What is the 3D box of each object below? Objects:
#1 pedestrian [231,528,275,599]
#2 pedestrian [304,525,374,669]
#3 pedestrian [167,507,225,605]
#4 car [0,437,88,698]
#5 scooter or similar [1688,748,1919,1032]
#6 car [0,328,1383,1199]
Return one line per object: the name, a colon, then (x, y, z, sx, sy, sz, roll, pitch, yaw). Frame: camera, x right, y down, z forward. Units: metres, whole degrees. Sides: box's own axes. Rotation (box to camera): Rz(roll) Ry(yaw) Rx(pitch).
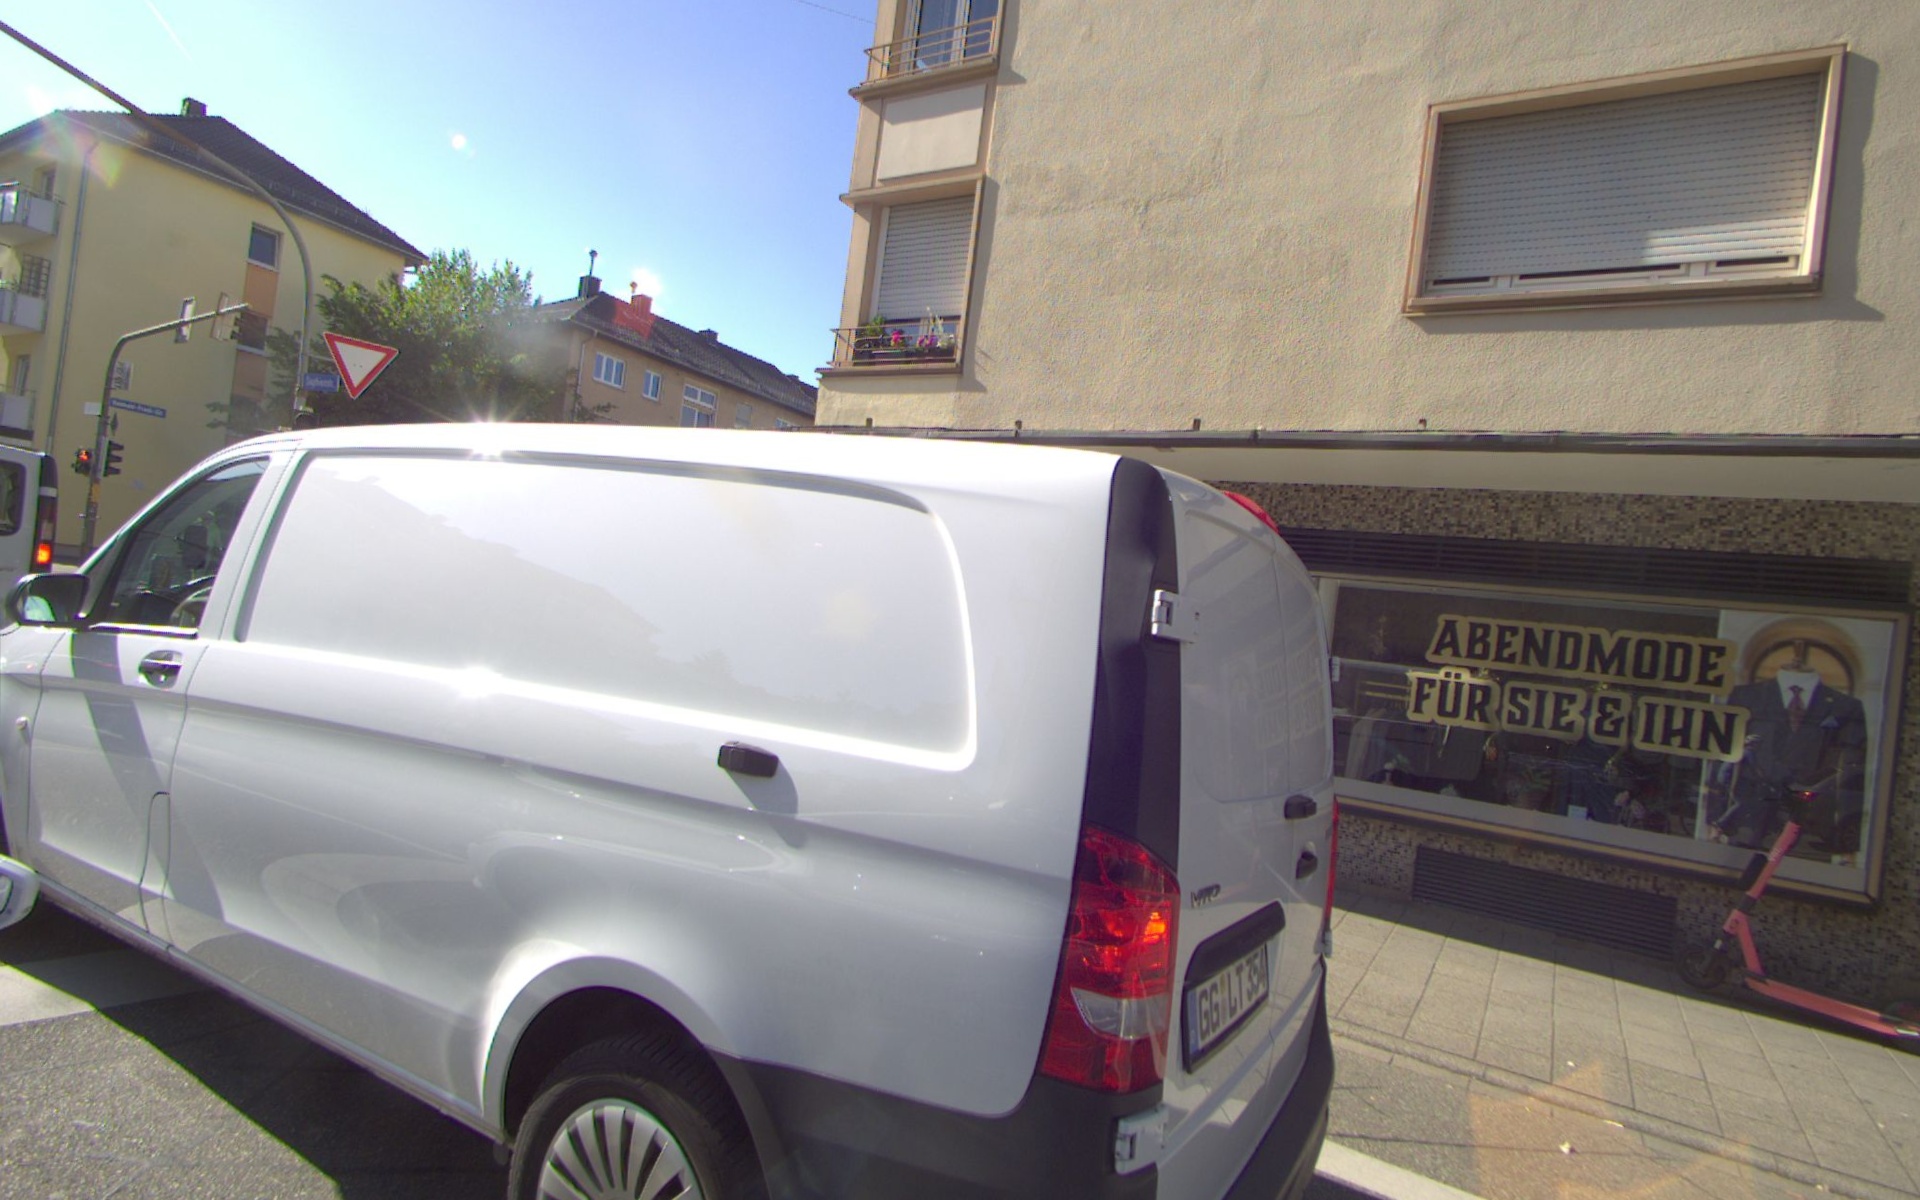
pedestrian: (-16.973, -0.872, 24.159, 0.530, 1.589, 0.540, 7, 0, 32)
pedestrian: (-8.380, -0.045, 13.586, 0.599, 1.844, 0.623, 7, 0, -31)
pedestrian: (-14.641, -0.840, 19.282, 0.612, 1.783, 0.526, 7, 0, 30)
car: (-9.610, -0.513, 8.737, 4.980, 1.961, 1.970, 6, -3, 38)
scooter or similar: (4.721, 1.521, 5.360, 1.208, 1.239, 0.526, 7, -1, 32)
car: (-1.357, 0.427, 3.368, 4.751, 1.831, 1.972, 6, -1, 31)
